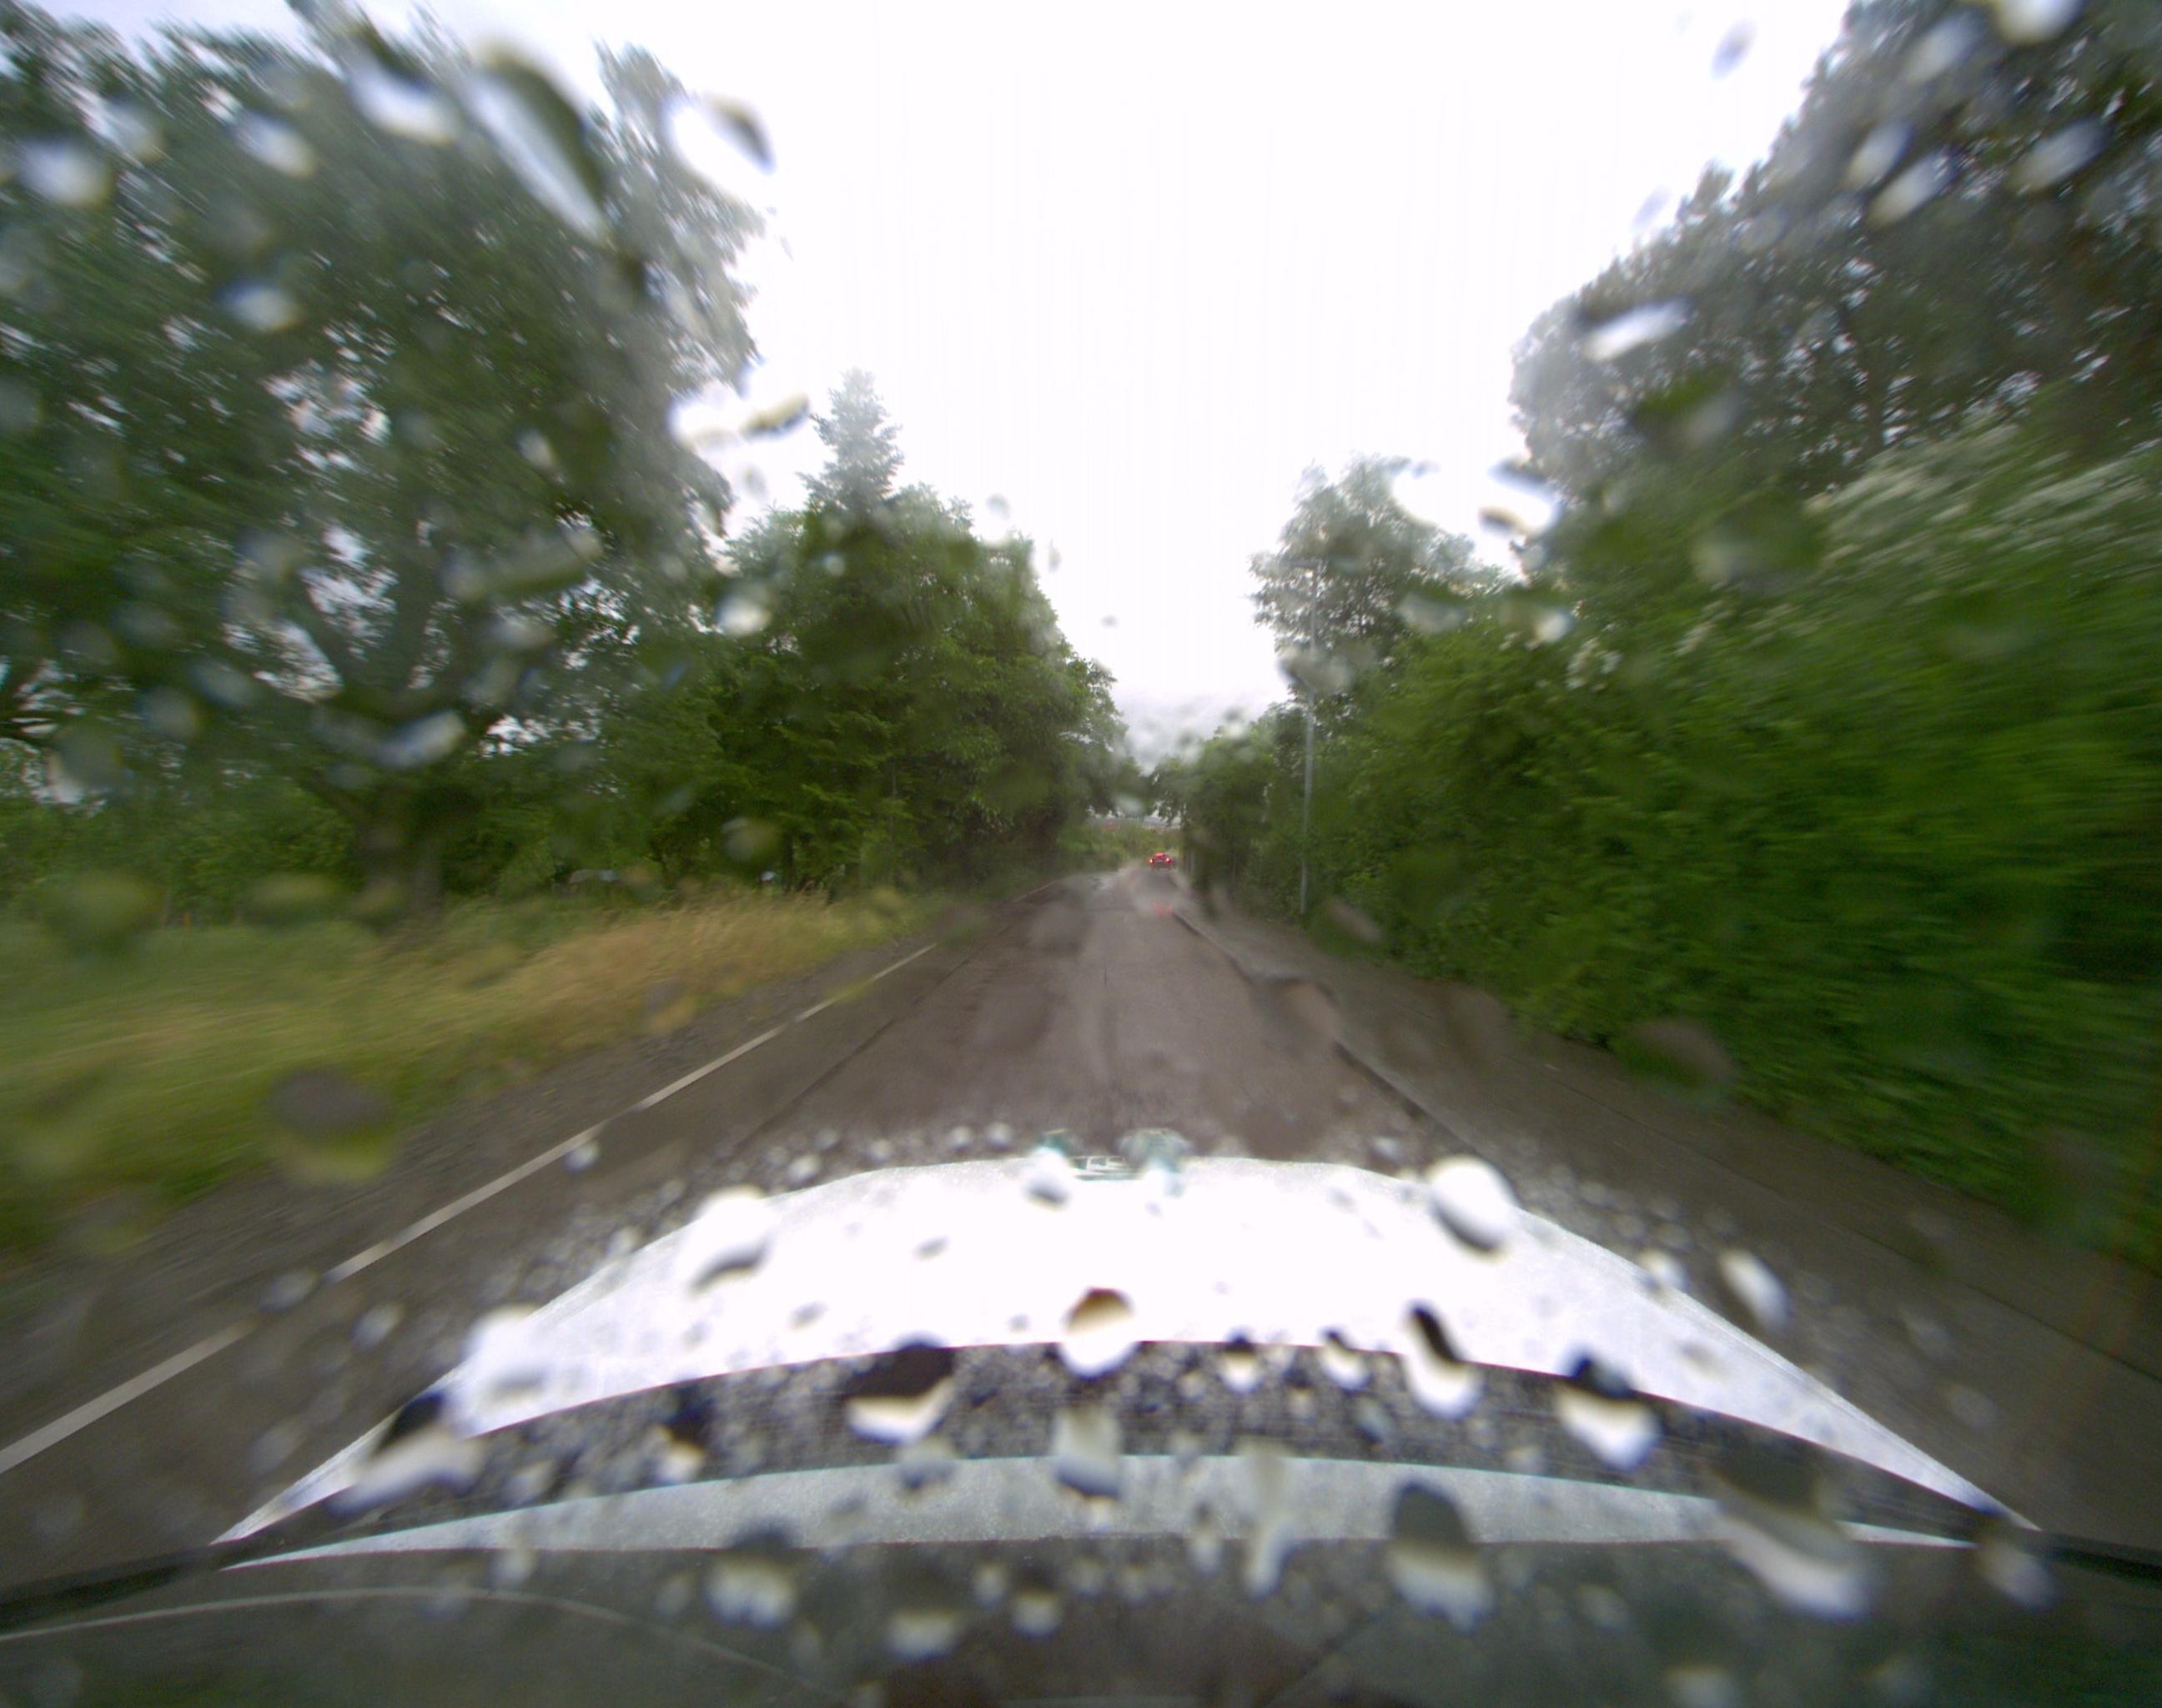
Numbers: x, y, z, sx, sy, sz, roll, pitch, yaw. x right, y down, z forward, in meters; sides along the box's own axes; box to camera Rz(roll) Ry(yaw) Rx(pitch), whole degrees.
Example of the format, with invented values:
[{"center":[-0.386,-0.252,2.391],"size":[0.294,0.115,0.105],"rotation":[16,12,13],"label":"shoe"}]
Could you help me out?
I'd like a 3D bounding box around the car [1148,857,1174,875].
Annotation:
[{"center":[6.977,1.050,70.508],"size":[1.622,1.450,3.559],"rotation":[1,-1,16],"label":"car"}]
